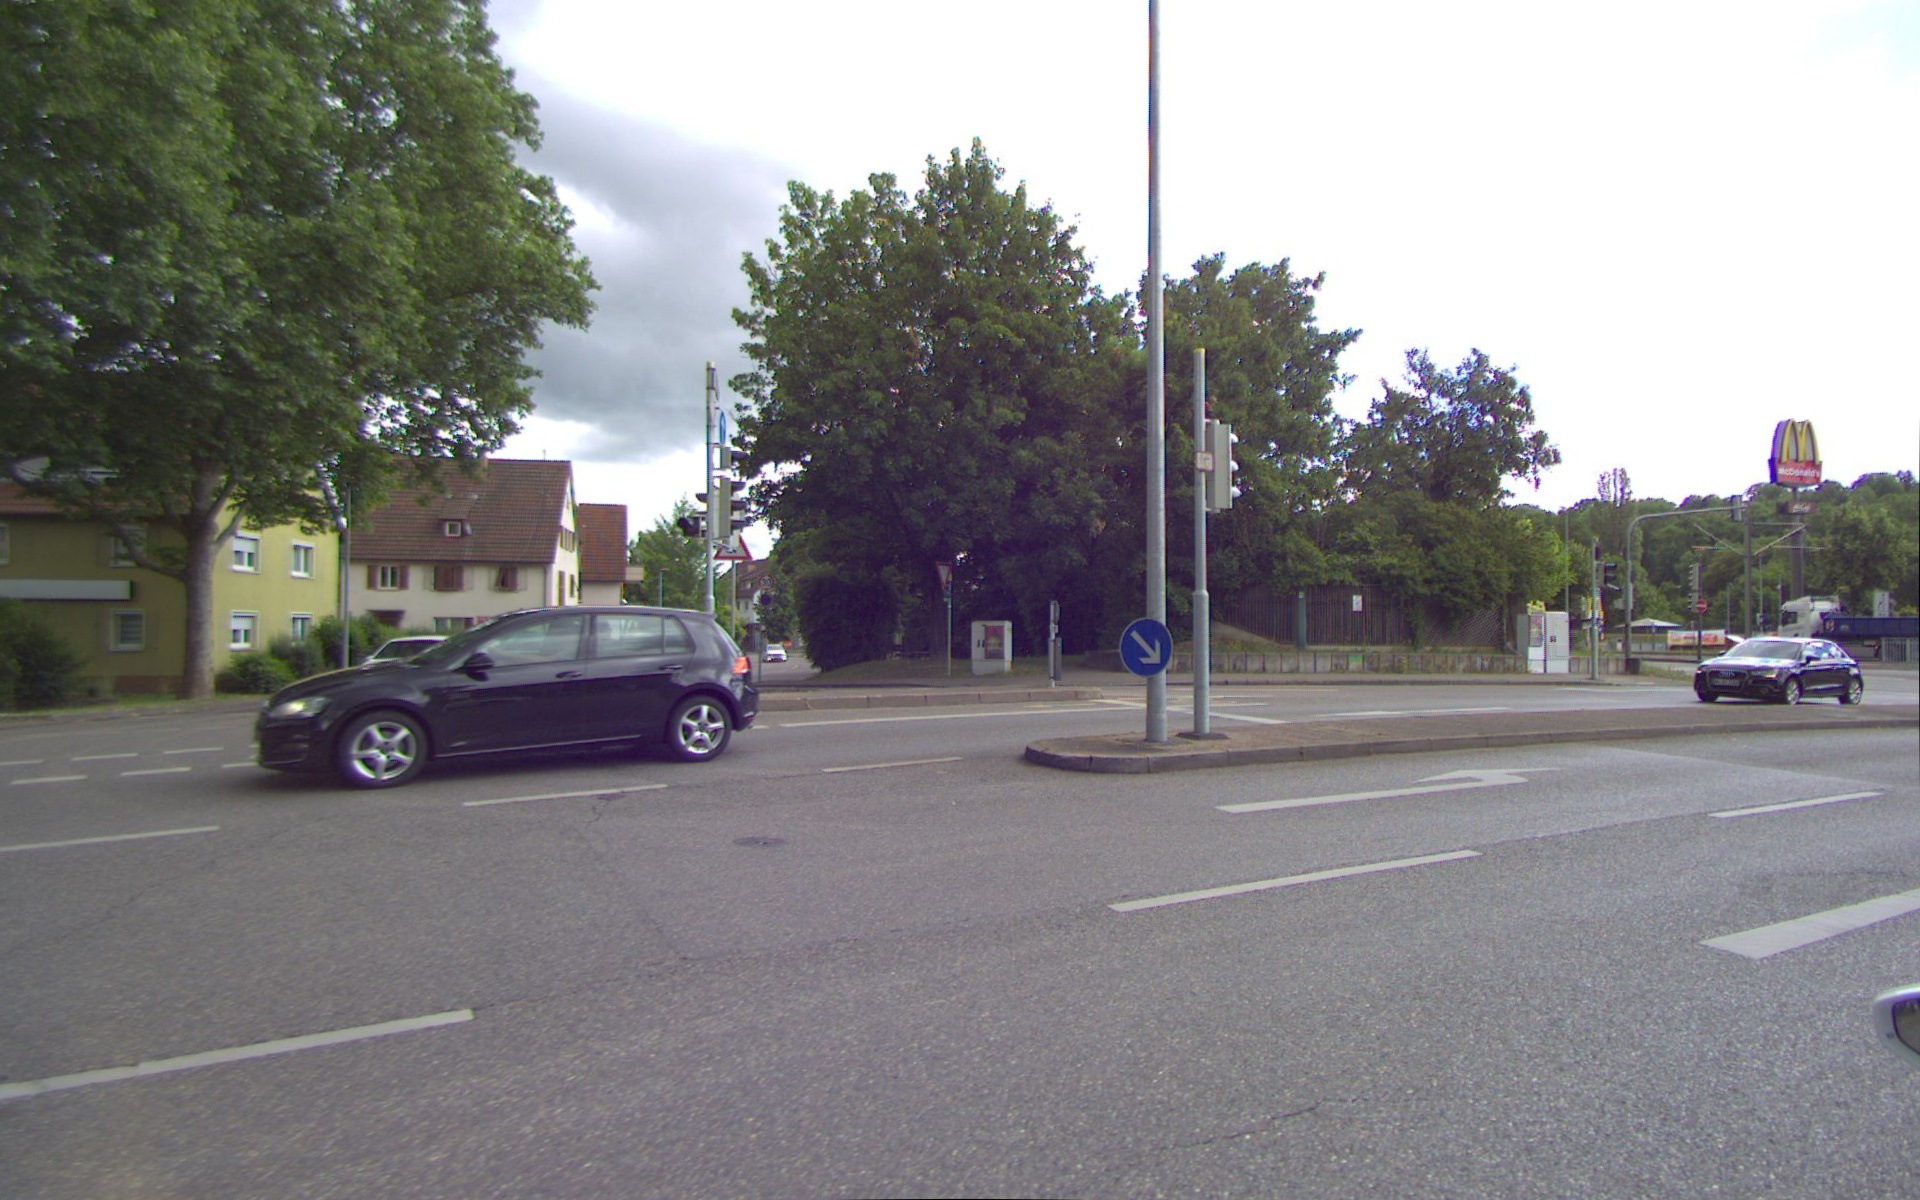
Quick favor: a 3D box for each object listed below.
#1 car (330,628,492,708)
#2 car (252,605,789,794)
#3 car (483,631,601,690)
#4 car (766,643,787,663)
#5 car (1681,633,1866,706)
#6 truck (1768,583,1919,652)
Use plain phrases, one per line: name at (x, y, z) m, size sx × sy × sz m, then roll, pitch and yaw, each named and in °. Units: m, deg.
car at (-11.438, 1.357, 21.232) m, size 1.793 × 1.499 × 3.849 m, roll 0°, pitch -1°, yaw -9°
car at (-3.884, 0.772, 9.260) m, size 4.267 × 1.384 × 1.666 m, roll 1°, pitch -1°, yaw -35°
car at (-12.022, 1.736, 29.212) m, size 1.962 × 1.566 × 4.268 m, roll 1°, pitch -3°, yaw -5°
car at (-16.432, 4.737, 89.809) m, size 1.733 × 1.637 × 3.754 m, roll 0°, pitch -1°, yaw -13°
car at (17.392, 1.427, 21.463) m, size 3.844 × 1.435 × 1.611 m, roll 1°, pitch -1°, yaw -26°
truck at (51.591, 1.072, 56.854) m, size 3.164 × 3.634 × 9.107 m, roll 1°, pitch -3°, yaw -13°
